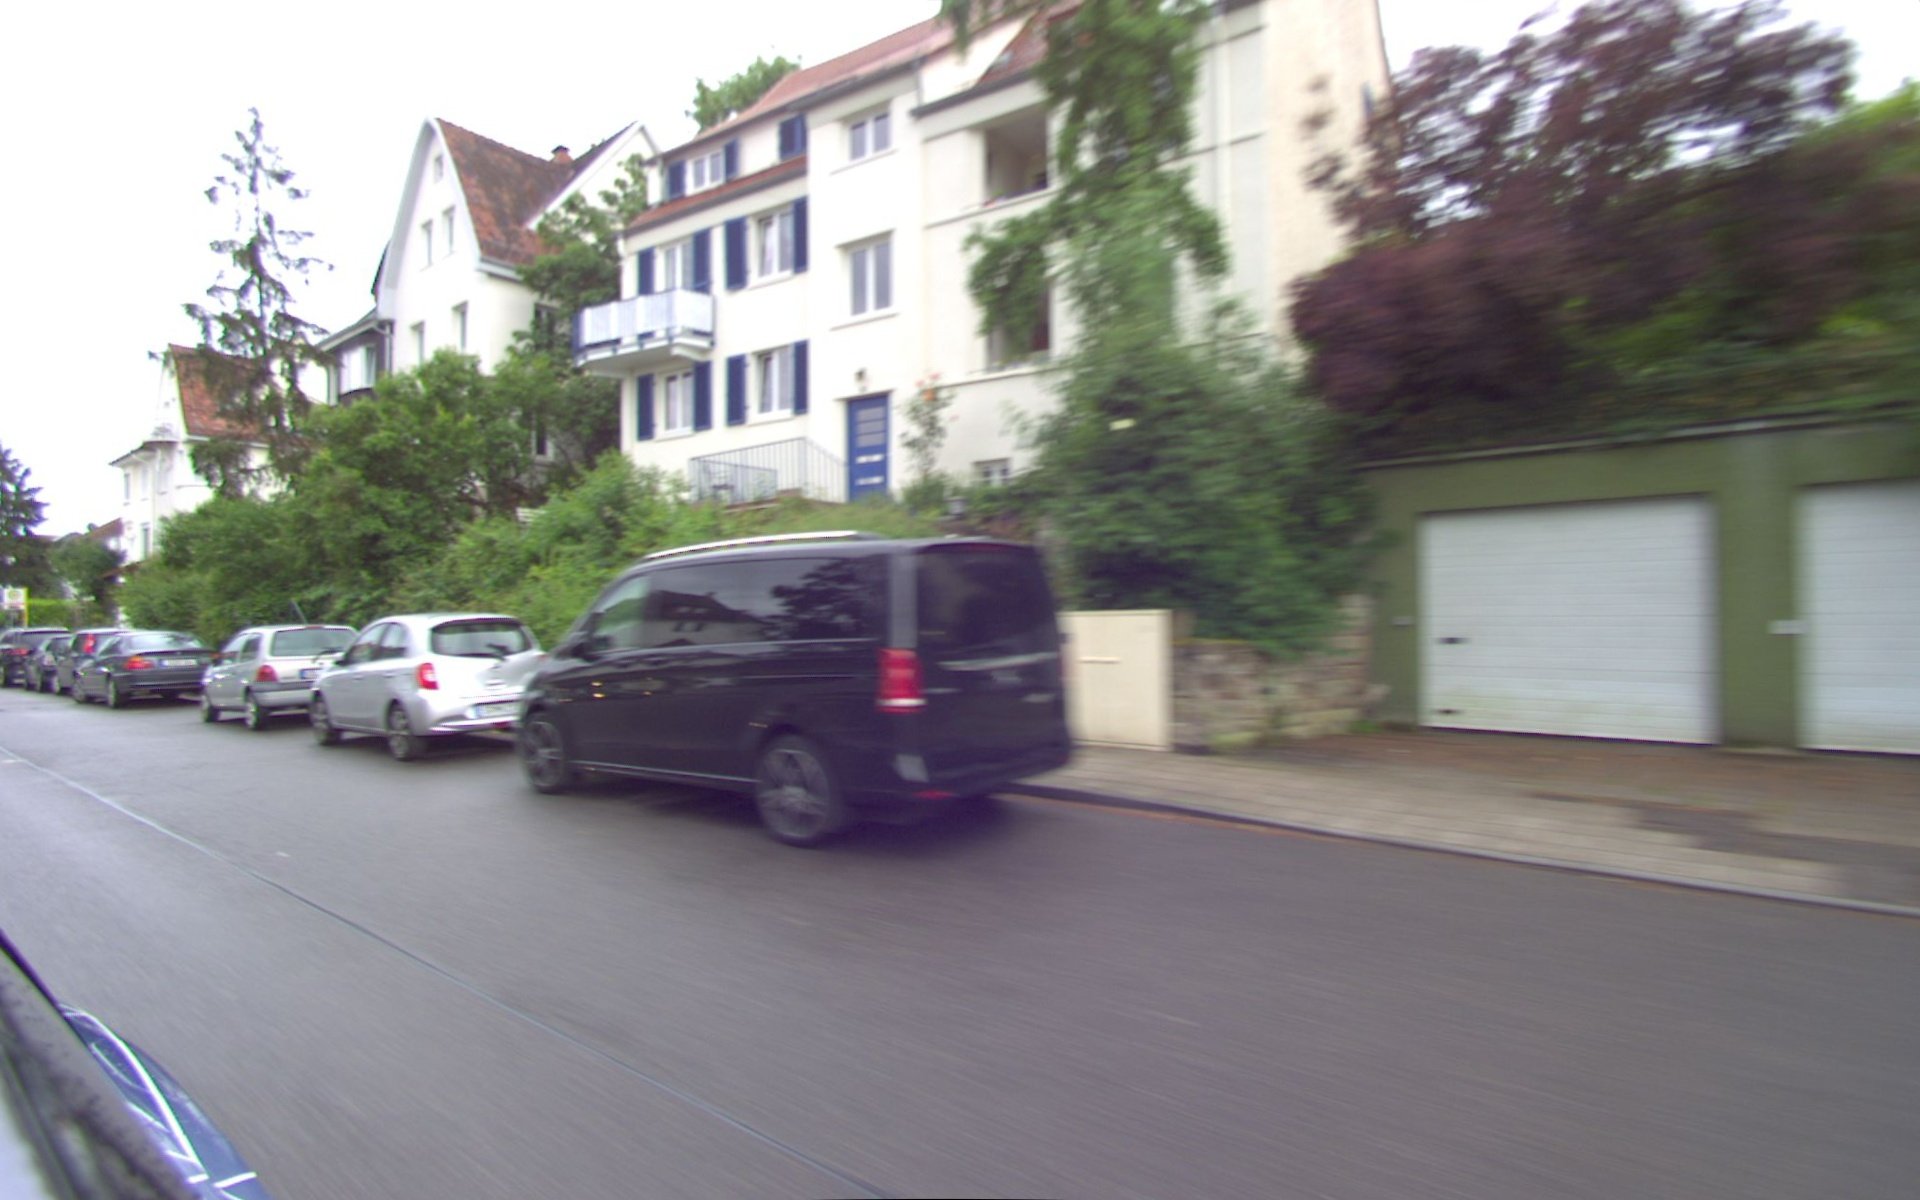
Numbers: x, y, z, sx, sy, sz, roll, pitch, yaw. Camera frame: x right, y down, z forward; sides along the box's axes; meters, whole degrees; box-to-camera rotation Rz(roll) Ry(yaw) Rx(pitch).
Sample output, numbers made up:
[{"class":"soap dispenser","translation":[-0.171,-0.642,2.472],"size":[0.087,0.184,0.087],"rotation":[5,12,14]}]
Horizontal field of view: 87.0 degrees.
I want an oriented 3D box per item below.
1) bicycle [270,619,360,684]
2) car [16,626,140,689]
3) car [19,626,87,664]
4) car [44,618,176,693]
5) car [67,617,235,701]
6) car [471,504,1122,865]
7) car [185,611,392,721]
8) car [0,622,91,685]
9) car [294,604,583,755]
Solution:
[{"class":"bicycle","translation":[-14.027,1.135,21.971],"size":[2.289,1.311,0.994],"rotation":[-4,-2,40]},{"class":"car","translation":[-23.020,1.519,26.378],"size":[3.810,1.458,1.874],"rotation":[-4,-2,40]},{"class":"car","translation":[-45.994,2.272,51.297],"size":[3.991,1.709,1.750],"rotation":[-4,-2,36]},{"class":"car","translation":[-19.785,1.260,23.517],"size":[3.810,1.553,1.680],"rotation":[-2,-1,39]},{"class":"car","translation":[-16.243,1.196,20.234],"size":[4.411,1.458,1.738],"rotation":[-4,-2,39]},{"class":"car","translation":[-1.594,0.491,7.819],"size":[5.354,1.892,1.973],"rotation":[-2,0,41]},{"class":"car","translation":[-10.276,0.997,15.405],"size":[3.624,1.458,1.630],"rotation":[-4,-2,39]},{"class":"car","translation":[-26.922,1.522,29.239],"size":[4.371,1.635,1.876],"rotation":[-2,-1,37]},{"class":"car","translation":[-6.148,0.822,11.767],"size":[3.811,1.458,1.677],"rotation":[-2,-1,41]}]
